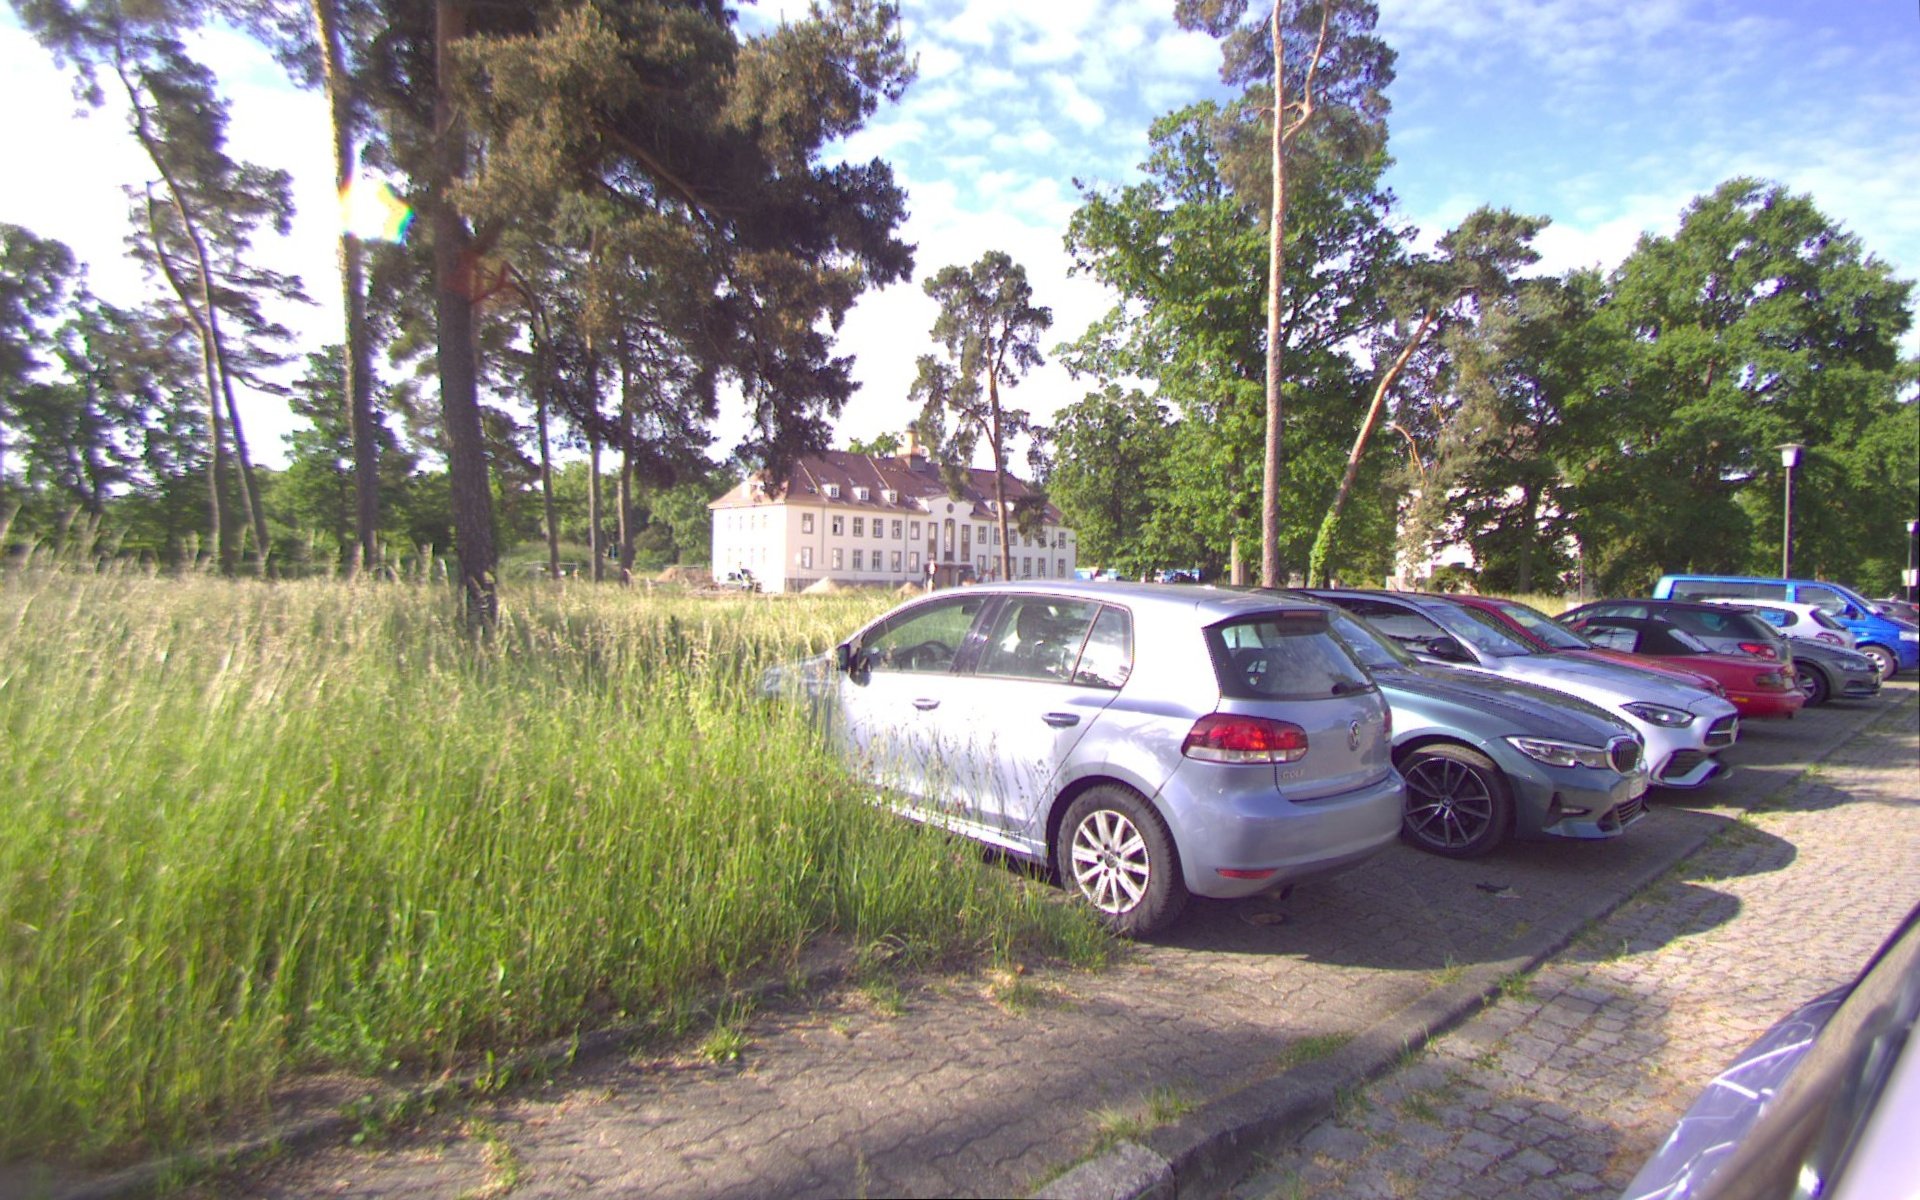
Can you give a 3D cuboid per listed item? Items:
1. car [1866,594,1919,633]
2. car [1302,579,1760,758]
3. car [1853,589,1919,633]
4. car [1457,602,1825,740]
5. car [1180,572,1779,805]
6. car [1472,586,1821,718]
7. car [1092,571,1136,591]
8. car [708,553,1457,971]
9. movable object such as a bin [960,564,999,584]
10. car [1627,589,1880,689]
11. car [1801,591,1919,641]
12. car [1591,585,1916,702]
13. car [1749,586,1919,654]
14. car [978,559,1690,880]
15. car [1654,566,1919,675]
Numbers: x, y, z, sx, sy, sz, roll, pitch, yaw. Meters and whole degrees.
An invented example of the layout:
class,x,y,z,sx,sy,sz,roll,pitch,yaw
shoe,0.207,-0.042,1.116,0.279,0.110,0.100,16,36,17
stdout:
class,x,y,z,sx,sy,sz,roll,pitch,yaw
car,42.479,0.582,44.263,1.724,1.635,3.997,-1,0,-37
car,5.892,0.563,10.810,1.632,1.410,3.914,0,3,-42
car,39.032,0.437,41.034,1.725,1.763,3.996,0,0,-39
car,7.886,0.720,11.930,1.396,1.271,3.353,0,2,-42
car,4.362,0.552,9.099,1.795,1.419,4.419,0,3,-42
car,9.425,0.610,14.124,1.523,1.509,3.775,0,2,-42
car,16.303,-1.956,106.797,4.689,2.039,1.997,0,1,-41
car,0.371,0.516,5.781,1.839,1.478,4.022,0,3,-42
movable object such as a bin,2.422,-3.205,123.960,1.994,2.352,4.907,2,2,44
car,13.842,0.597,17.785,1.423,1.509,3.264,0,2,-39
car,31.442,0.522,34.506,1.725,1.537,3.997,0,2,-39
car,12.038,0.567,15.588,1.478,1.509,3.630,0,2,-32
car,24.110,0.501,27.424,1.725,1.660,3.997,0,2,-39
car,2.374,0.536,7.360,1.796,1.535,4.498,0,3,-45
car,17.745,0.331,21.364,1.965,2.038,4.725,0,2,-40
